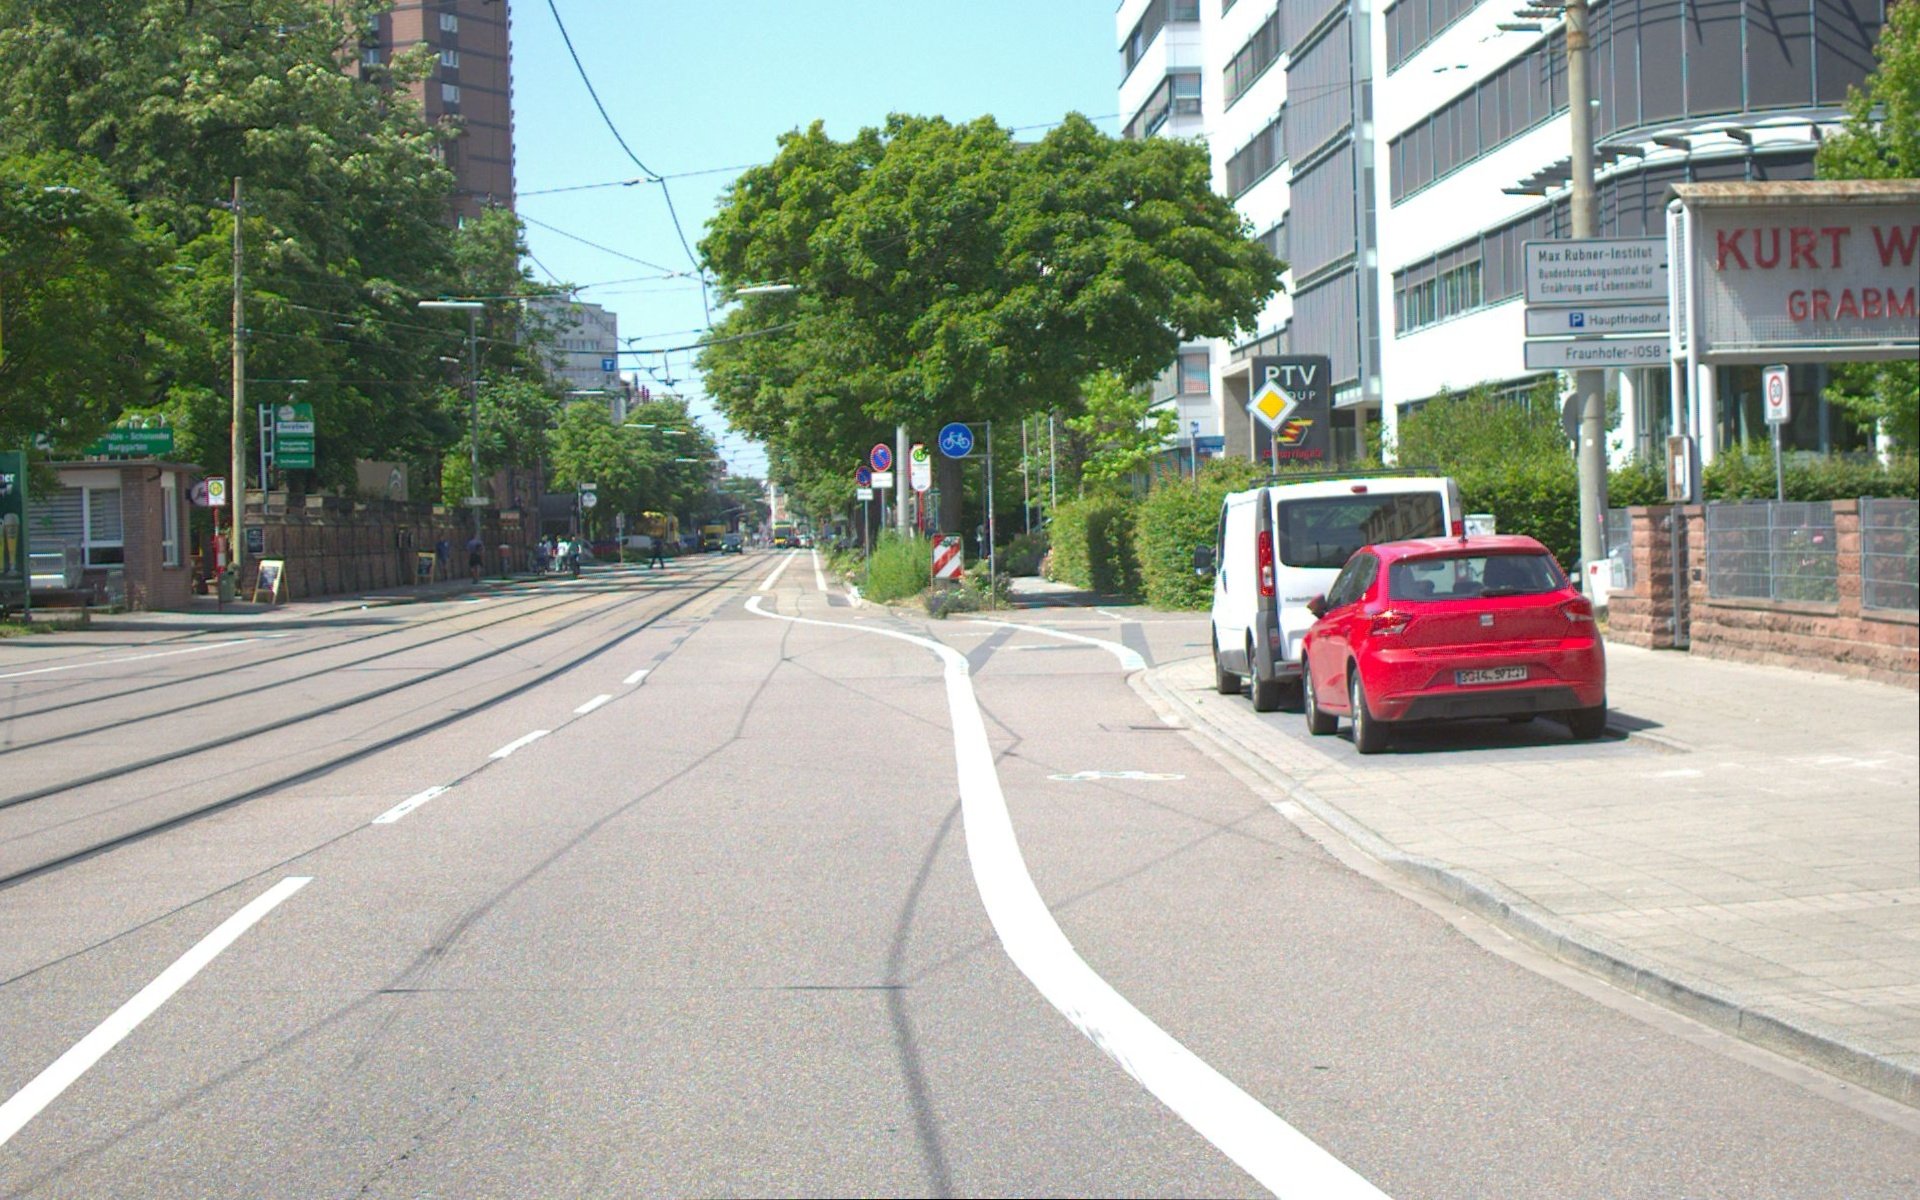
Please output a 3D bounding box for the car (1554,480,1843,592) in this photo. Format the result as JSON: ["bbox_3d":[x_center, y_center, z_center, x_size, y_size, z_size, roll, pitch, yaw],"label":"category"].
[{"bbox_3d":[10.286,-0.902,48.051,3.600,1.446,1.759,-1,2,-2],"label":"car"}]

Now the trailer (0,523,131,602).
[{"bbox_3d":[-20.193,-0.843,77.069,2.830,1.698,1.621,-1,1,-1],"label":"trailer"}]

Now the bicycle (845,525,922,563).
[{"bbox_3d":[-2.561,-1.894,115.534,2.511,1.205,0.648,-2,1,2],"label":"bicycle"}]

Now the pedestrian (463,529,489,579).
[{"bbox_3d":[-17.419,-1.657,123.675,0.814,1.764,0.925,-1,1,-3],"label":"pedestrian"}]

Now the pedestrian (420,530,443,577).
[{"bbox_3d":[-19.475,-1.710,126.714,0.743,1.722,0.867,-1,1,-3],"label":"pedestrian"}]

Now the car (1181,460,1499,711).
[{"bbox_3d":[3.349,-0.188,31.435,1.993,1.985,5.515,-3,1,-2],"label":"car"}]

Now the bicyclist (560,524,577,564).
[{"bbox_3d":[-16.757,-2.410,147.044,0.642,1.674,0.815,-2,1,-4],"label":"bicyclist"}]

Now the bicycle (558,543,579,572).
[{"bbox_3d":[-16.741,-1.834,146.983,0.701,1.199,2.241,-4,1,-3],"label":"bicycle"}]

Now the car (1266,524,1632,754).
[{"bbox_3d":[3.428,0.214,24.849,1.993,1.437,4.017,-2,1,0],"label":"car"}]
